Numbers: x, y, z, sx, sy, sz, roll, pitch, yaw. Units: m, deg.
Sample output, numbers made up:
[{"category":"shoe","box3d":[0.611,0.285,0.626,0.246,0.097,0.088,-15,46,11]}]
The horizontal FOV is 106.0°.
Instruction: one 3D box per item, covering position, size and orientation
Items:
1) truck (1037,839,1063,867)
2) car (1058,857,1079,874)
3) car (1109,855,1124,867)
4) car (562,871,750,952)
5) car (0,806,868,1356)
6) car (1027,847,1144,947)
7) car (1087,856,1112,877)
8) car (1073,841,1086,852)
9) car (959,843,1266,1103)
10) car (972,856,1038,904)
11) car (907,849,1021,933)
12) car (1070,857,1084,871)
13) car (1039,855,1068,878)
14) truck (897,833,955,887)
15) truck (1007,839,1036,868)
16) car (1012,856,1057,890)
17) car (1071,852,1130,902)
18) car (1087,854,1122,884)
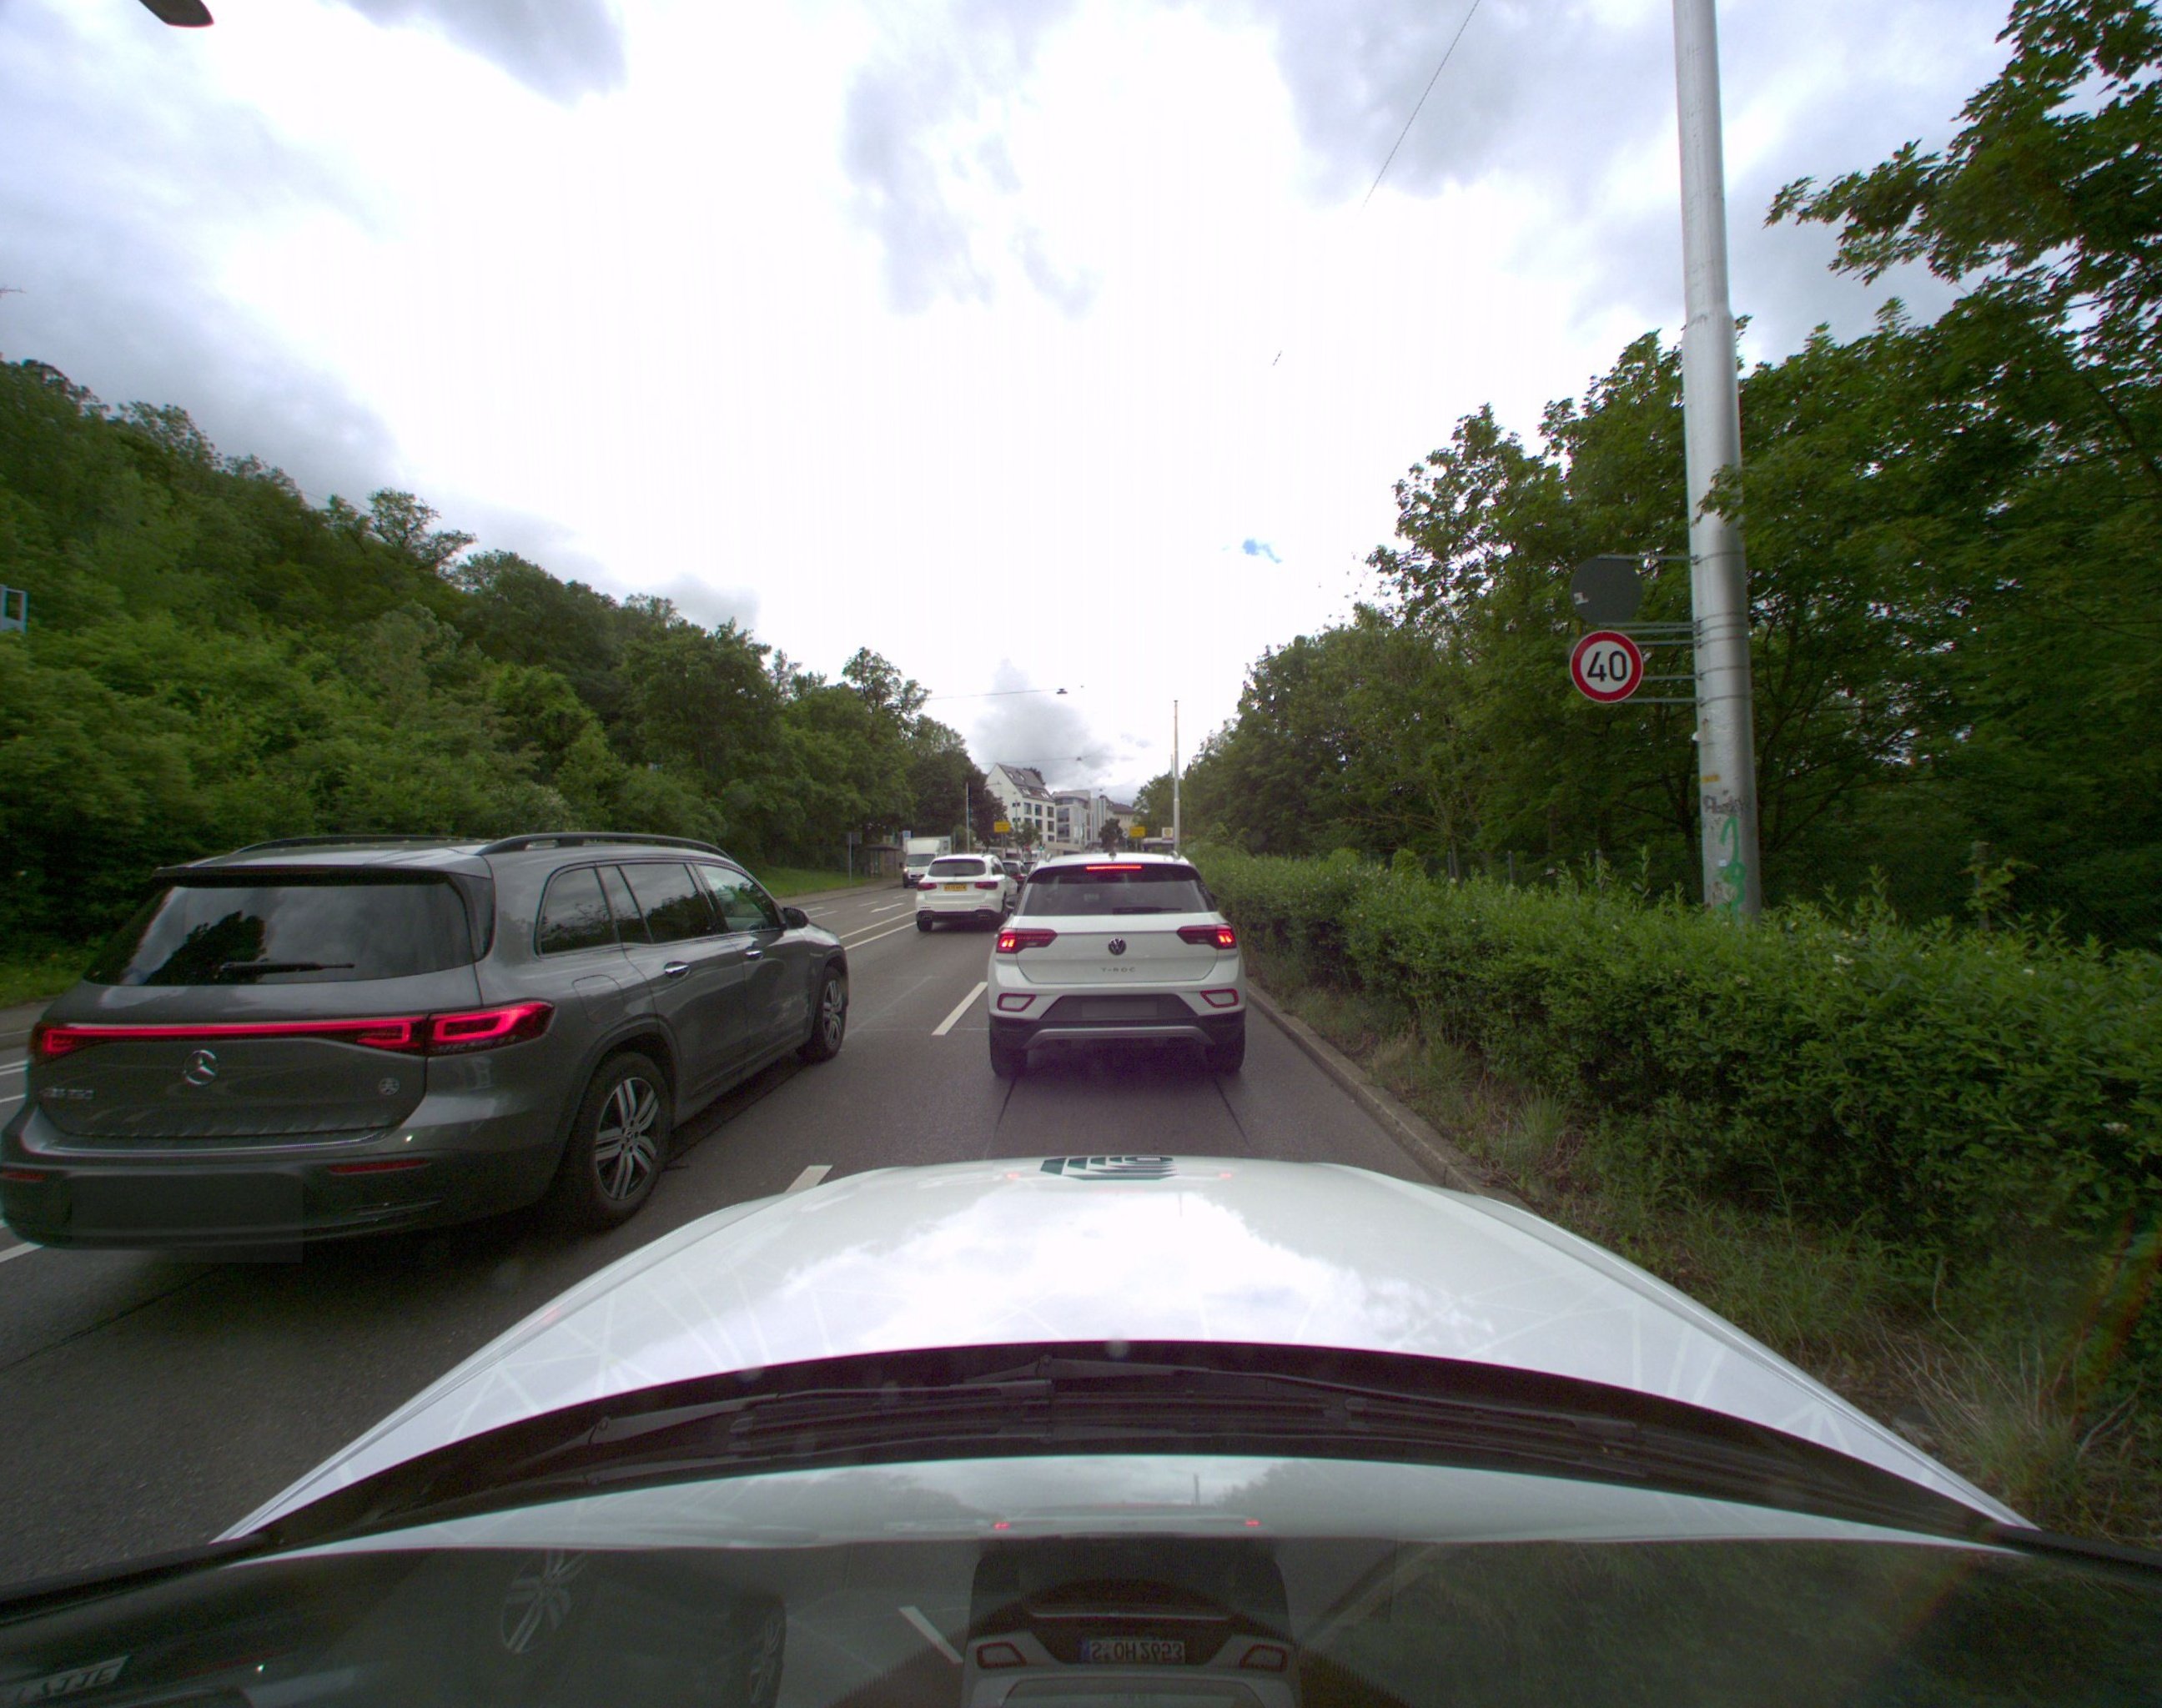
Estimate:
[{"category":"truck","box3d":[-3.195,-0.109,85.617,2.354,2.782,4.478,-3,0,1]},{"category":"car","box3d":[-1.154,1.106,78.719,1.823,1.526,4.001,-2,0,1]},{"category":"car","box3d":[4.726,0.977,109.157,1.823,1.526,4.001,-2,0,1]},{"category":"car","box3d":[-9.038,1.152,17.797,1.673,1.395,4.361,-3,0,1]},{"category":"car","box3d":[-2.749,0.702,4.680,1.843,1.651,4.357,-1,0,0]},{"category":"car","box3d":[0.110,0.697,15.029,1.823,1.526,4.001,-2,0,1]},{"category":"car","box3d":[1.452,0.975,64.813,1.823,1.526,4.001,-2,0,1]},{"category":"car","box3d":[-0.193,-1.051,116.961,1.823,1.526,4.001,-2,0,1]},{"category":"car","box3d":[0.226,0.724,6.944,1.823,1.526,4.001,-2,0,1]},{"category":"car","box3d":[-2.611,0.864,28.741,1.823,1.497,4.001,-2,0,1]},{"category":"car","box3d":[-2.505,0.749,18.453,1.911,1.669,4.001,-1,0,1]},{"category":"car","box3d":[-0.523,1.334,109.308,1.809,1.656,3.929,-3,0,1]},{"category":"car","box3d":[-1.975,0.884,58.995,1.823,1.526,4.001,-2,0,1]},{"category":"truck","box3d":[-9.701,0.377,51.602,2.286,3.051,6.977,-2,-1,0]},{"category":"truck","box3d":[-5.893,-0.011,81.066,2.354,2.706,4.478,-3,0,1]},{"category":"car","box3d":[-2.208,0.872,39.663,1.823,1.526,4.001,-2,0,1]},{"category":"car","box3d":[0.659,0.741,28.148,1.823,1.526,4.001,-2,0,1]},{"category":"car","box3d":[1.291,0.827,45.803,1.823,1.526,4.001,-2,0,1]}]
